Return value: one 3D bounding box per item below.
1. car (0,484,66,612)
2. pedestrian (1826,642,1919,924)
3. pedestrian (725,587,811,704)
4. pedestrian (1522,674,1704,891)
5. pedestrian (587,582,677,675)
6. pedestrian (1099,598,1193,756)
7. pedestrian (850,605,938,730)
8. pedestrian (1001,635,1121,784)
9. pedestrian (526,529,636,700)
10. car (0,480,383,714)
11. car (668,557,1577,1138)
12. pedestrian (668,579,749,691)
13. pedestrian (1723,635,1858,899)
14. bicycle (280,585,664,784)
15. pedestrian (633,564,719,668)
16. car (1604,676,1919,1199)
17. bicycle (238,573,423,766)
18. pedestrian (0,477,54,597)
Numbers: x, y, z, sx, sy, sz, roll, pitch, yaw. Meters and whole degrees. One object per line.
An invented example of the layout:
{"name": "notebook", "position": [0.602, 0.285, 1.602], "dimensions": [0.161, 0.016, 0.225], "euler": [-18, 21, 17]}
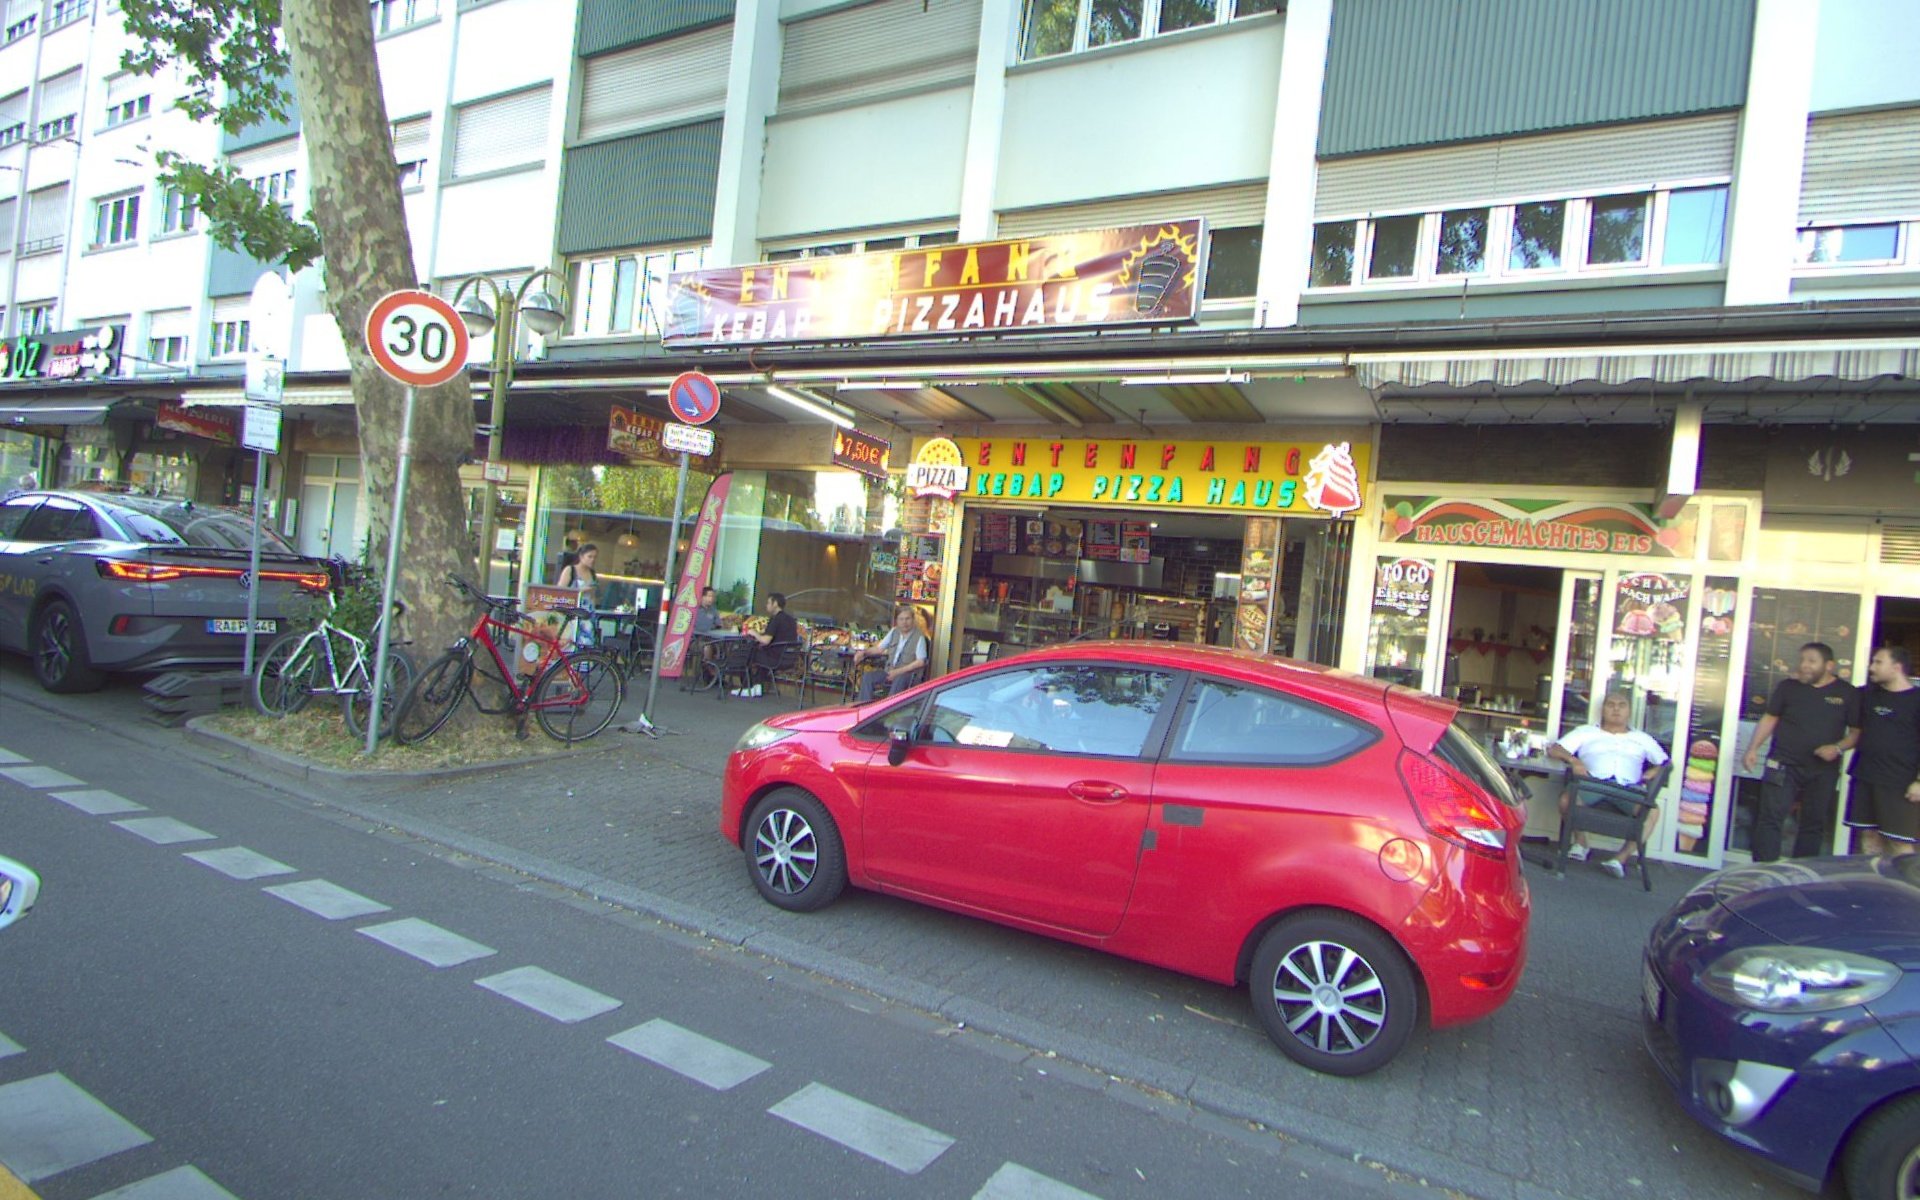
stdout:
{"name": "car", "position": [-14.376, -0.905, 13.570], "dimensions": [4.292, 1.603, 1.996], "euler": [7, 2, 27]}
{"name": "pedestrian", "position": [6.378, 1.213, 6.801], "dimensions": [0.391, 1.805, 0.552], "euler": [4, 2, -29]}
{"name": "pedestrian", "position": [-2.225, 0.521, 11.662], "dimensions": [0.679, 1.261, 0.558], "euler": [7, 2, 33]}
{"name": "pedestrian", "position": [4.815, 1.292, 7.506], "dimensions": [0.937, 1.352, 1.069], "euler": [7, 0, 30]}
{"name": "pedestrian", "position": [-4.299, 0.363, 13.239], "dimensions": [0.940, 1.094, 0.639], "euler": [7, 0, -9]}
{"name": "pedestrian", "position": [1.992, 0.814, 10.733], "dimensions": [0.589, 1.566, 0.700], "euler": [7, 0, 34]}
{"name": "pedestrian", "position": [-0.707, 0.715, 10.848], "dimensions": [0.550, 1.252, 0.689], "euler": [7, 2, 29]}
{"name": "pedestrian", "position": [0.942, 0.980, 9.300], "dimensions": [0.798, 1.225, 0.654], "euler": [7, 2, 28]}
{"name": "pedestrian", "position": [-3.981, 0.149, 10.563], "dimensions": [0.783, 1.668, 0.582], "euler": [7, 2, 30]}
{"name": "car", "position": [-7.659, -0.157, 9.260], "dimensions": [4.292, 1.603, 1.996], "euler": [7, 2, 27]}
{"name": "car", "position": [0.660, 0.789, 4.923], "dimensions": [3.757, 1.617, 1.783], "euler": [6, 3, 28]}
{"name": "pedestrian", "position": [-3.049, 0.418, 12.186], "dimensions": [0.680, 1.261, 0.557], "euler": [7, 2, 38]}
{"name": "pedestrian", "position": [6.010, 1.178, 7.308], "dimensions": [0.547, 1.802, 0.395], "euler": [6, 2, 29]}
{"name": "bicycle", "position": [-3.326, 0.521, 7.101], "dimensions": [0.547, 1.171, 2.377], "euler": [7, 4, 44]}
{"name": "pedestrian", "position": [-4.065, 0.220, 14.461], "dimensions": [0.958, 1.350, 0.830], "euler": [6, 0, -9]}
{"name": "car", "position": [4.093, 1.236, 2.864], "dimensions": [3.549, 1.488, 1.767], "euler": [6, 3, 29]}
{"name": "bicycle", "position": [-4.548, 0.467, 7.239], "dimensions": [1.421, 1.169, 0.553], "euler": [6, 0, 36]}
{"name": "pedestrian", "position": [-13.821, -0.925, 14.787], "dimensions": [0.661, 1.688, 0.593], "euler": [4, 2, -42]}
